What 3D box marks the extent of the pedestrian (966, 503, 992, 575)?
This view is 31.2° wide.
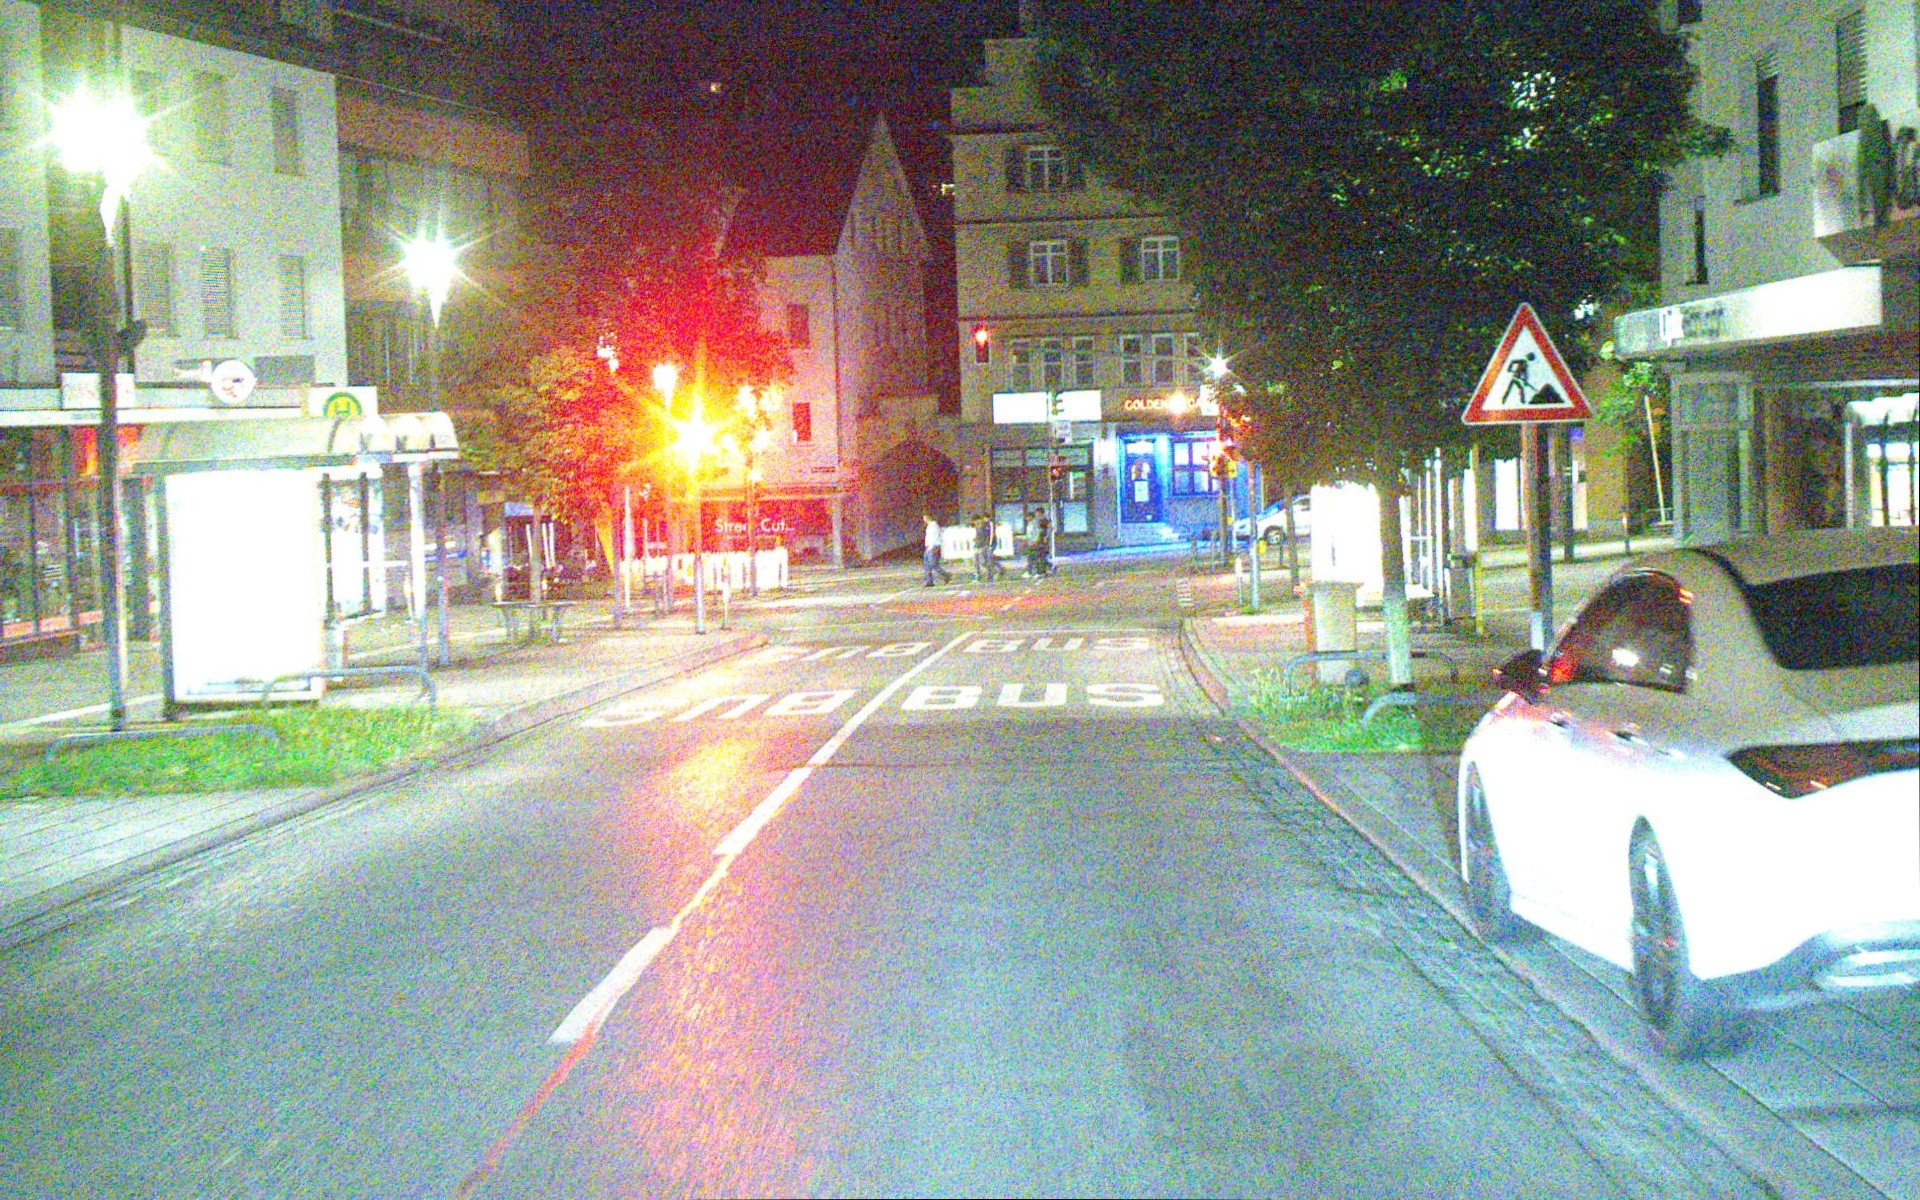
[{"bbox_3d":[0.468,-1.527,86.368,0.567,1.789,0.718,-1,0,-4],"label":"pedestrian"}]

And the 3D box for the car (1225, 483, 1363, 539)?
[{"bbox_3d":[10.185,-2.714,104.960,3.751,1.612,1.835,-1,0,-19],"label":"car"}]

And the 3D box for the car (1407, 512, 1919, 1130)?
[{"bbox_3d":[2.683,0.484,10.708,1.857,1.437,4.594,-3,1,-1],"label":"car"}]

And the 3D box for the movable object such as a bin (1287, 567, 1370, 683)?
[{"bbox_3d":[3.007,0.202,28.072,0.524,0.934,0.629,-1,0,-8],"label":"movable object such as a bin"}]

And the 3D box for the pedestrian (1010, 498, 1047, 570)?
[{"bbox_3d":[1.711,-1.650,86.030,0.568,1.789,0.718,-1,0,-34],"label":"pedestrian"}]

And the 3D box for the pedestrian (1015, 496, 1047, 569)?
[{"bbox_3d":[1.762,-1.662,85.122,0.735,1.789,0.718,-1,0,4],"label":"pedestrian"}]

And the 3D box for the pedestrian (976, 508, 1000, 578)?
[{"bbox_3d":[0.712,-1.468,88.346,0.567,1.789,0.718,-1,0,0],"label":"pedestrian"}]

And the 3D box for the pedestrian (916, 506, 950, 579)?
[{"bbox_3d":[-0.658,-1.419,85.201,0.716,1.789,0.569,-1,0,10],"label":"pedestrian"}]
